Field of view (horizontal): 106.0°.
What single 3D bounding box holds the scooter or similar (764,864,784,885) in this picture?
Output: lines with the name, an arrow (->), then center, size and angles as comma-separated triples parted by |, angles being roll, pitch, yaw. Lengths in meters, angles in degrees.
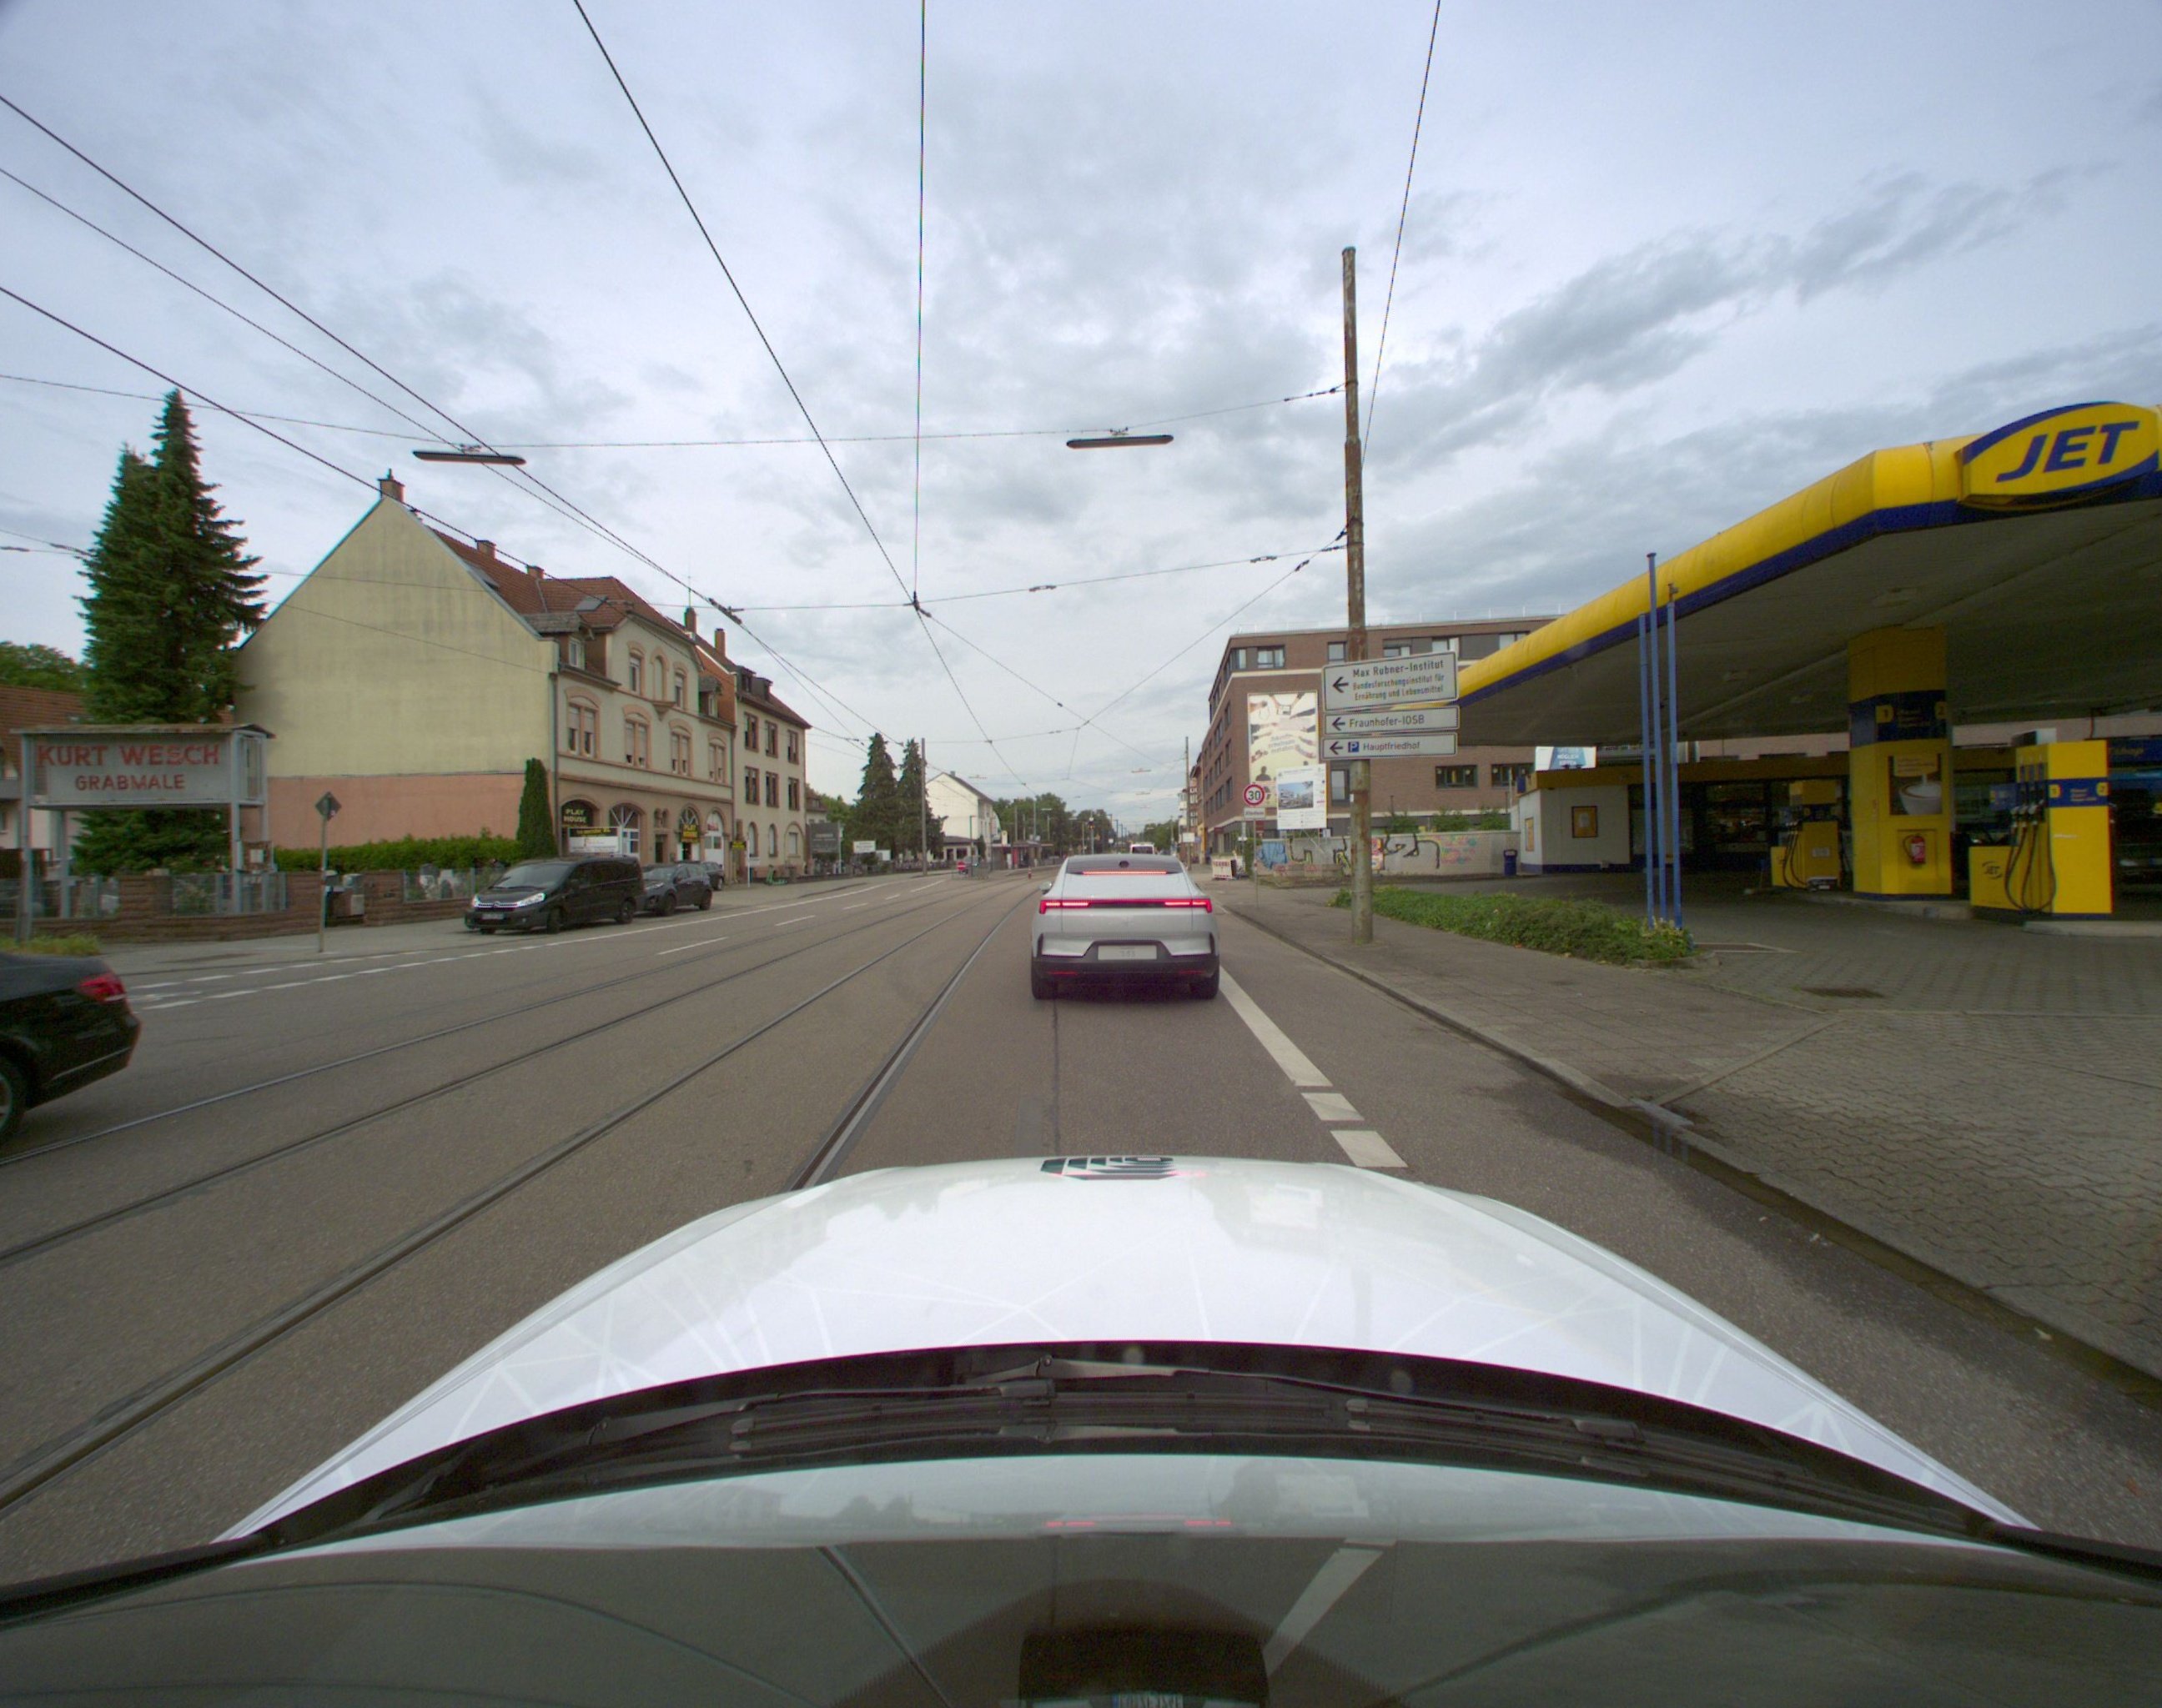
scooter or similar -> -18.054, 1.195, 47.838 | 1.056, 1.188, 0.315 | 1, -1, -35

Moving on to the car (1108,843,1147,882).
car -> 2.469, 0.439, 44.029 | 1.986, 2.014, 4.000 | 0, -1, 1

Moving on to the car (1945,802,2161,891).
car -> 19.394, -0.126, 15.866 | 1.972, 1.497, 4.350 | -3, -2, 25

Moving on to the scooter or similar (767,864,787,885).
scooter or similar -> -17.669, 1.188, 47.386 | 1.056, 1.188, 0.315 | 1, -1, -35

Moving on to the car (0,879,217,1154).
car -> -6.617, 0.904, 2.984 | 1.944, 1.427, 4.877 | -2, 0, -5

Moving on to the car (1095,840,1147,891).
car -> 1.590, 0.477, 33.756 | 1.987, 2.014, 3.999 | 0, -1, 0

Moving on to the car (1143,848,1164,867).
car -> 8.369, 0.453, 94.403 | 2.132, 2.146, 4.744 | 0, -1, 1

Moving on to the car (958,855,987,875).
car -> -9.872, 0.998, 74.033 | 1.735, 1.741, 4.006 | 0, -1, 5

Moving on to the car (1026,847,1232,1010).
car -> 0.389, 0.710, 9.876 | 1.977, 1.550, 4.179 | 0, 0, -2

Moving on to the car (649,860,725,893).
car -> -18.486, 1.040, 38.416 | 1.748, 1.500, 3.745 | 0, -1, -1

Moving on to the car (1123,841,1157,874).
car -> 4.396, 0.298, 61.776 | 2.209, 2.423, 4.950 | 0, -1, 0

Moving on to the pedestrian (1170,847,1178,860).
pedestrian -> 14.660, -0.015, 128.283 | 1.215, 2.013, 0.934 | -2, 0, 1

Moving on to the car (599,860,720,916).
car -> -13.922, 1.071, 27.199 | 1.839, 1.718, 4.191 | 0, -1, -1

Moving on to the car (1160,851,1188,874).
car -> 7.403, 0.671, 65.158 | 1.868, 1.823, 4.096 | 0, -1, 1

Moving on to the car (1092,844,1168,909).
car -> 1.359, 0.640, 24.020 | 1.963, 1.756, 3.836 | 0, -1, -1

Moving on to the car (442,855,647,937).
car -> -13.712, 0.998, 21.290 | 1.985, 1.887, 4.998 | 0, -1, 0
